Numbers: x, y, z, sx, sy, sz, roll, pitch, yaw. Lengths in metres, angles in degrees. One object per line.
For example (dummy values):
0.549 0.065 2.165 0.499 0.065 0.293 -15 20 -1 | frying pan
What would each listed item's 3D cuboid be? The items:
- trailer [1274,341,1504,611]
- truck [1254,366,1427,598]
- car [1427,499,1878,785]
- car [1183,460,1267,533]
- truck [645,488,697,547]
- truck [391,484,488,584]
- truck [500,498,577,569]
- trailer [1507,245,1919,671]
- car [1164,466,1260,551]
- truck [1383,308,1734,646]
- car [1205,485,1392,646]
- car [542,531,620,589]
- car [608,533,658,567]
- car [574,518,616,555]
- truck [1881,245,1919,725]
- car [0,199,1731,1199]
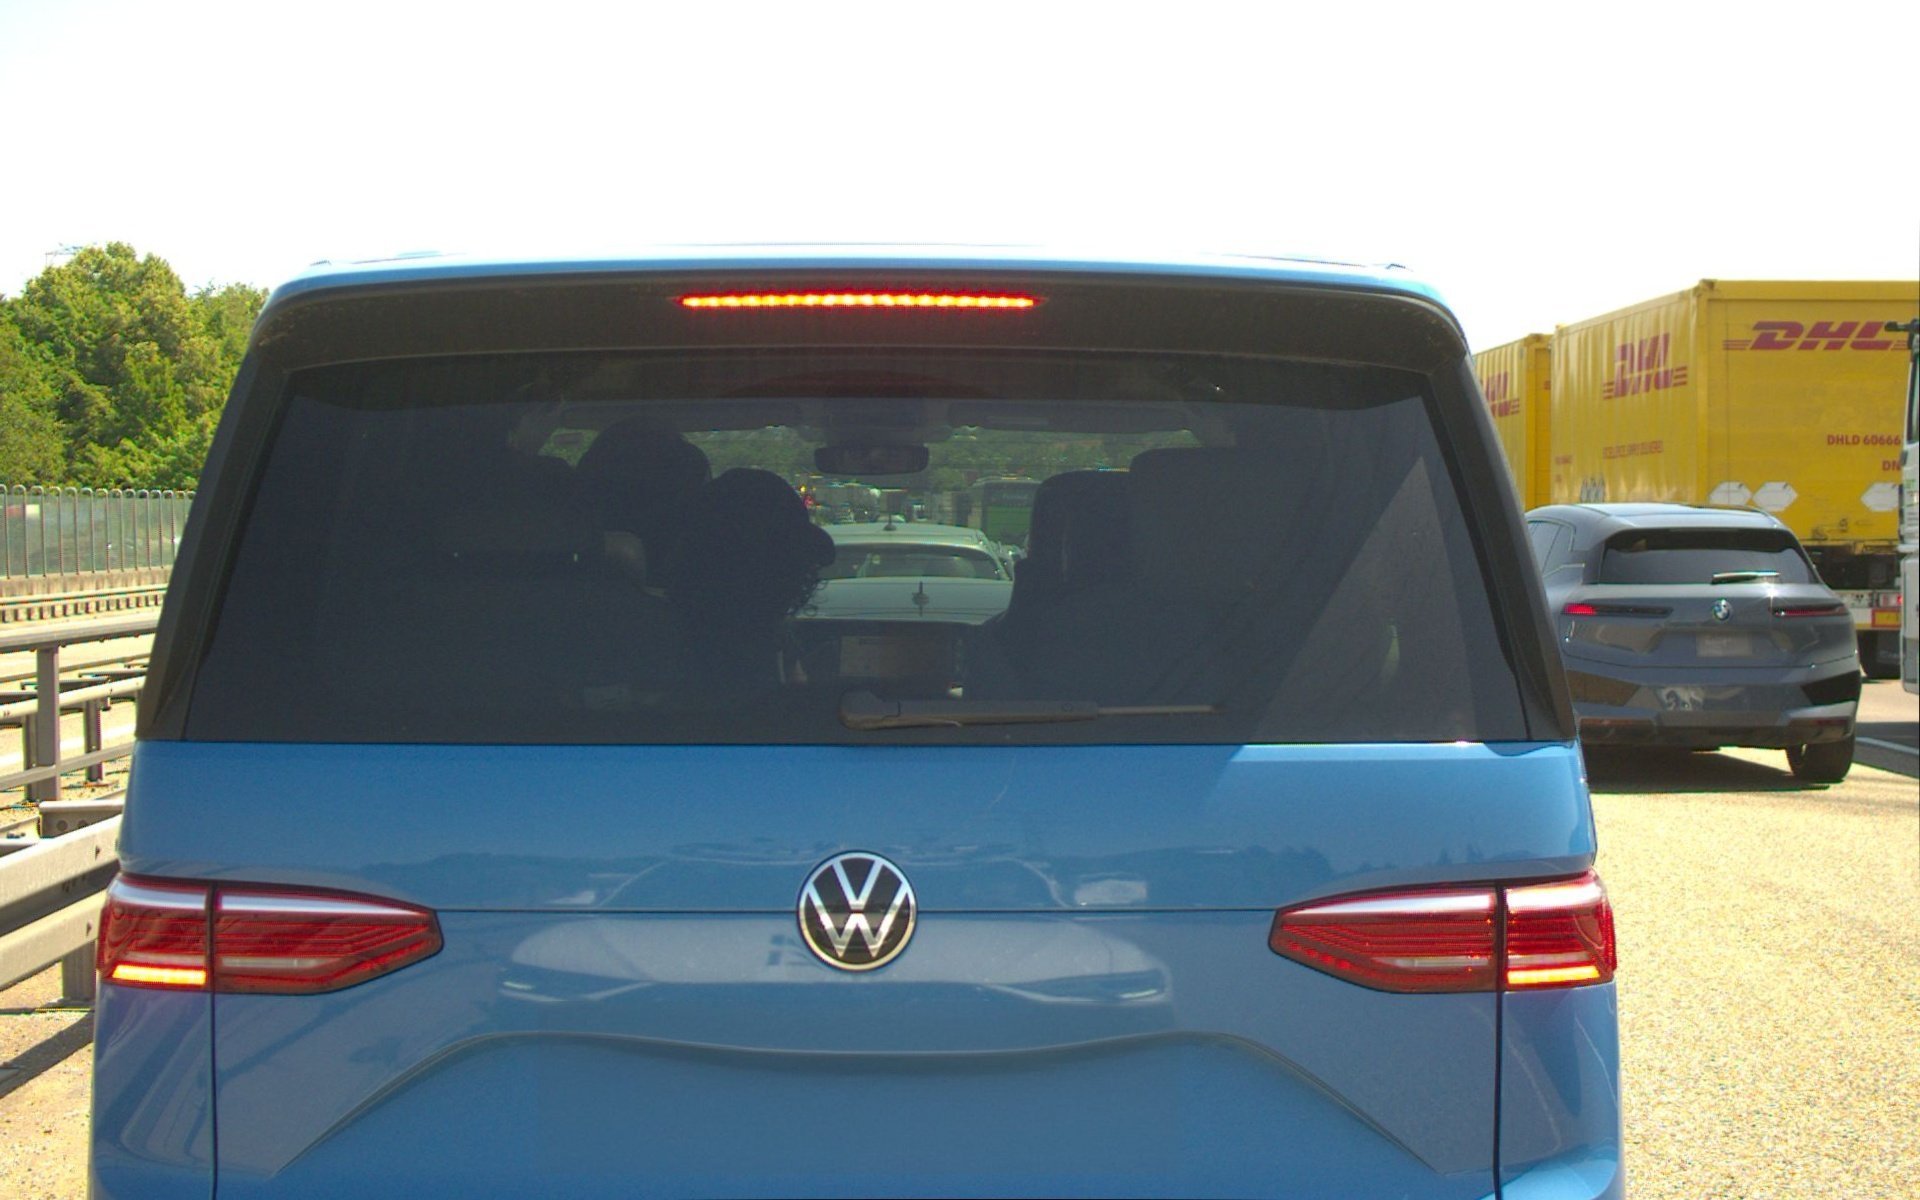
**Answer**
7.711 -2.206 63.304 2.637 4.501 11.302 1 1 -1 | trailer
7.674 -2.344 70.107 2.667 4.469 6.850 1 1 0 | truck
4.280 0.197 21.947 1.962 1.639 4.293 0 1 -1 | car
7.524 -2.922 98.026 1.993 2.007 4.461 -1 1 0 | car
-17.093 -4.836 203.534 2.561 3.348 8.865 -2 1 -2 | truck
-18.492 -2.352 122.393 2.497 3.354 5.834 -2 1 -1 | truck
-19.772 -3.129 161.684 2.518 3.100 8.724 -4 1 -1 | truck
8.411 -1.485 38.879 2.864 4.224 9.012 1 1 -1 | trailer
6.129 -2.209 83.963 1.993 2.007 4.000 1 1 0 | car
8.228 -1.651 48.884 2.836 4.228 11.011 1 1 -1 | truck
4.341 -0.472 44.666 1.962 1.986 4.293 0 1 -1 | car
-10.037 -1.077 91.187 1.619 1.459 3.702 -2 1 0 | car
-14.883 -2.277 156.828 1.863 1.439 4.131 -3 1 0 | car
-22.171 -3.870 209.049 2.082 2.142 4.312 -2 1 0 | car
8.687 -0.774 21.597 2.656 3.635 11.012 0 1 -1 | truck
-0.136 0.484 5.622 1.820 1.851 4.075 1 1 -1 | car
